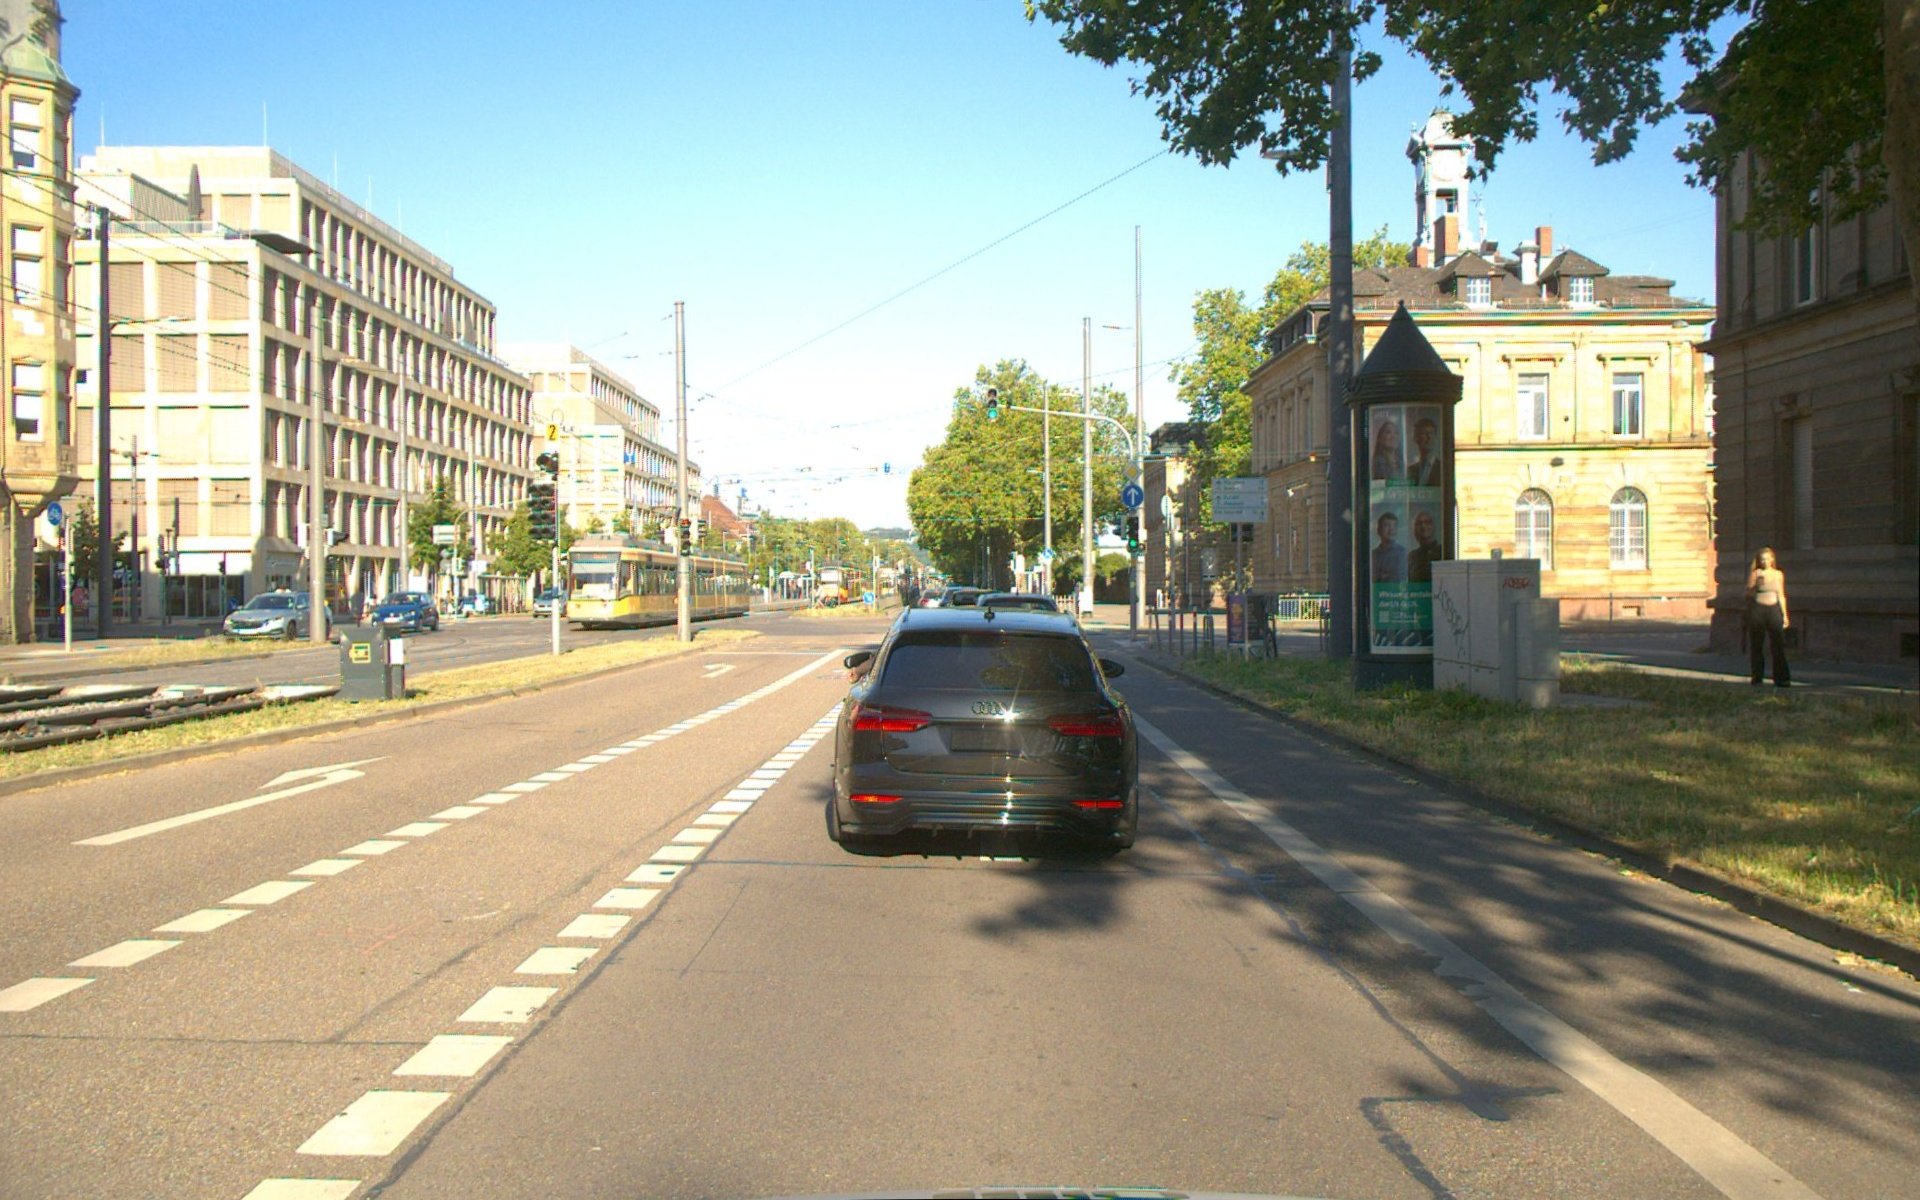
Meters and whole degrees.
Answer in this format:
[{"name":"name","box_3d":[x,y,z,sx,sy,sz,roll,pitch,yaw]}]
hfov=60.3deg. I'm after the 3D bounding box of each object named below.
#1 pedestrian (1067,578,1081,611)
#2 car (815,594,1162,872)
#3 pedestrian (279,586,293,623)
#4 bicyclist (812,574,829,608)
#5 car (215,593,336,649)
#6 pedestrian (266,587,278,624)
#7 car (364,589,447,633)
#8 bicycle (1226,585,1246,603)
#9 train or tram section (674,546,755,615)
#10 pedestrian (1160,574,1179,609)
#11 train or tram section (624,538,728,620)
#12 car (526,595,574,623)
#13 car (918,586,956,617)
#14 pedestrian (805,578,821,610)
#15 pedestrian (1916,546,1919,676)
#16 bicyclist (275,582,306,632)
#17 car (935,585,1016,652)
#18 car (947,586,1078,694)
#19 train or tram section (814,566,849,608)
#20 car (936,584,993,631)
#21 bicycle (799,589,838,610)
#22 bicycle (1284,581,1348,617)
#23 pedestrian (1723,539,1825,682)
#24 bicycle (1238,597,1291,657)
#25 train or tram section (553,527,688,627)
[{"name":"pedestrian","box_3d":[5.923,-0.291,85.995,0.668,1.689,0.758,-1,0,-2]},{"name":"car","box_3d":[0.153,0.723,11.121,1.864,1.446,4.144,2,0,0]},{"name":"pedestrian","box_3d":[-34.589,0.235,84.887,0.527,1.876,0.437,-1,0,-39]},{"name":"bicyclist","box_3d":[-7.573,-0.492,89.951,0.745,1.850,0.760,-1,0,-20]},{"name":"car","box_3d":[-19.529,0.562,47.419,1.784,1.482,4.537,-1,0,-3]},{"name":"pedestrian","box_3d":[-35.178,0.280,84.563,0.469,1.876,0.437,-1,0,-39]},{"name":"car","box_3d":[-19.917,0.374,59.575,1.784,1.482,4.154,-1,0,-3]},{"name":"bicycle","box_3d":[16.482,-0.383,98.780,0.516,1.065,2.355,-1,0,-8]},{"name":"train or tram section","box_3d":[-13.485,-1.051,91.842,2.755,3.550,12.152,-1,0,-1]},{"name":"pedestrian","box_3d":[11.399,-0.450,90.080,0.958,1.898,0.827,-1,0,2]},{"name":"train or tram section","box_3d":[-13.387,-0.962,79.159,2.755,3.550,13.202,-1,0,-1]},{"name":"car","box_3d":[-22.811,0.498,92.174,1.783,1.482,4.154,-1,0,-3]},{"name":"car","box_3d":[-1.170,0.061,84.922,1.864,1.512,4.144,2,0,0]},{"name":"pedestrian","box_3d":[-8.120,-0.319,91.410,0.729,1.772,0.659,-1,0,-21]},{"name":"pedestrian","box_3d":[12.385,0.135,20.272,0.753,1.634,0.986,-1,0,1]},{"name":"bicyclist","box_3d":[-21.920,0.221,54.142,0.671,1.590,0.785,-1,0,0]},{"name":"car","box_3d":[0.369,0.415,40.950,1.864,1.512,4.144,2,0,0]},{"name":"car","box_3d":[0.757,0.558,25.953,1.864,1.512,4.144,2,0,0]},{"name":"train or tram section","box_3d":[-10.980,-1.119,142.476,2.556,3.511,11.127,-1,1,-2]},{"name":"car","box_3d":[0.143,0.223,57.244,1.864,1.512,4.144,2,0,0]},{"name":"bicycle","box_3d":[-7.679,-0.019,89.899,1.976,1.127,0.760,-1,0,-21]},{"name":"bicycle","box_3d":[12.907,-0.039,59.968,2.094,1.230,0.765,-2,0,-3]},{"name":"pedestrian","box_3d":[10.199,0.121,20.761,0.753,1.739,1.042,-1,0,1]},{"name":"bicycle","box_3d":[5.680,0.486,30.924,0.529,1.080,1.770,-1,0,-4]},{"name":"train or tram section","box_3d":[-13.266,-0.862,65.968,2.755,3.550,13.202,-1,0,-1]}]
